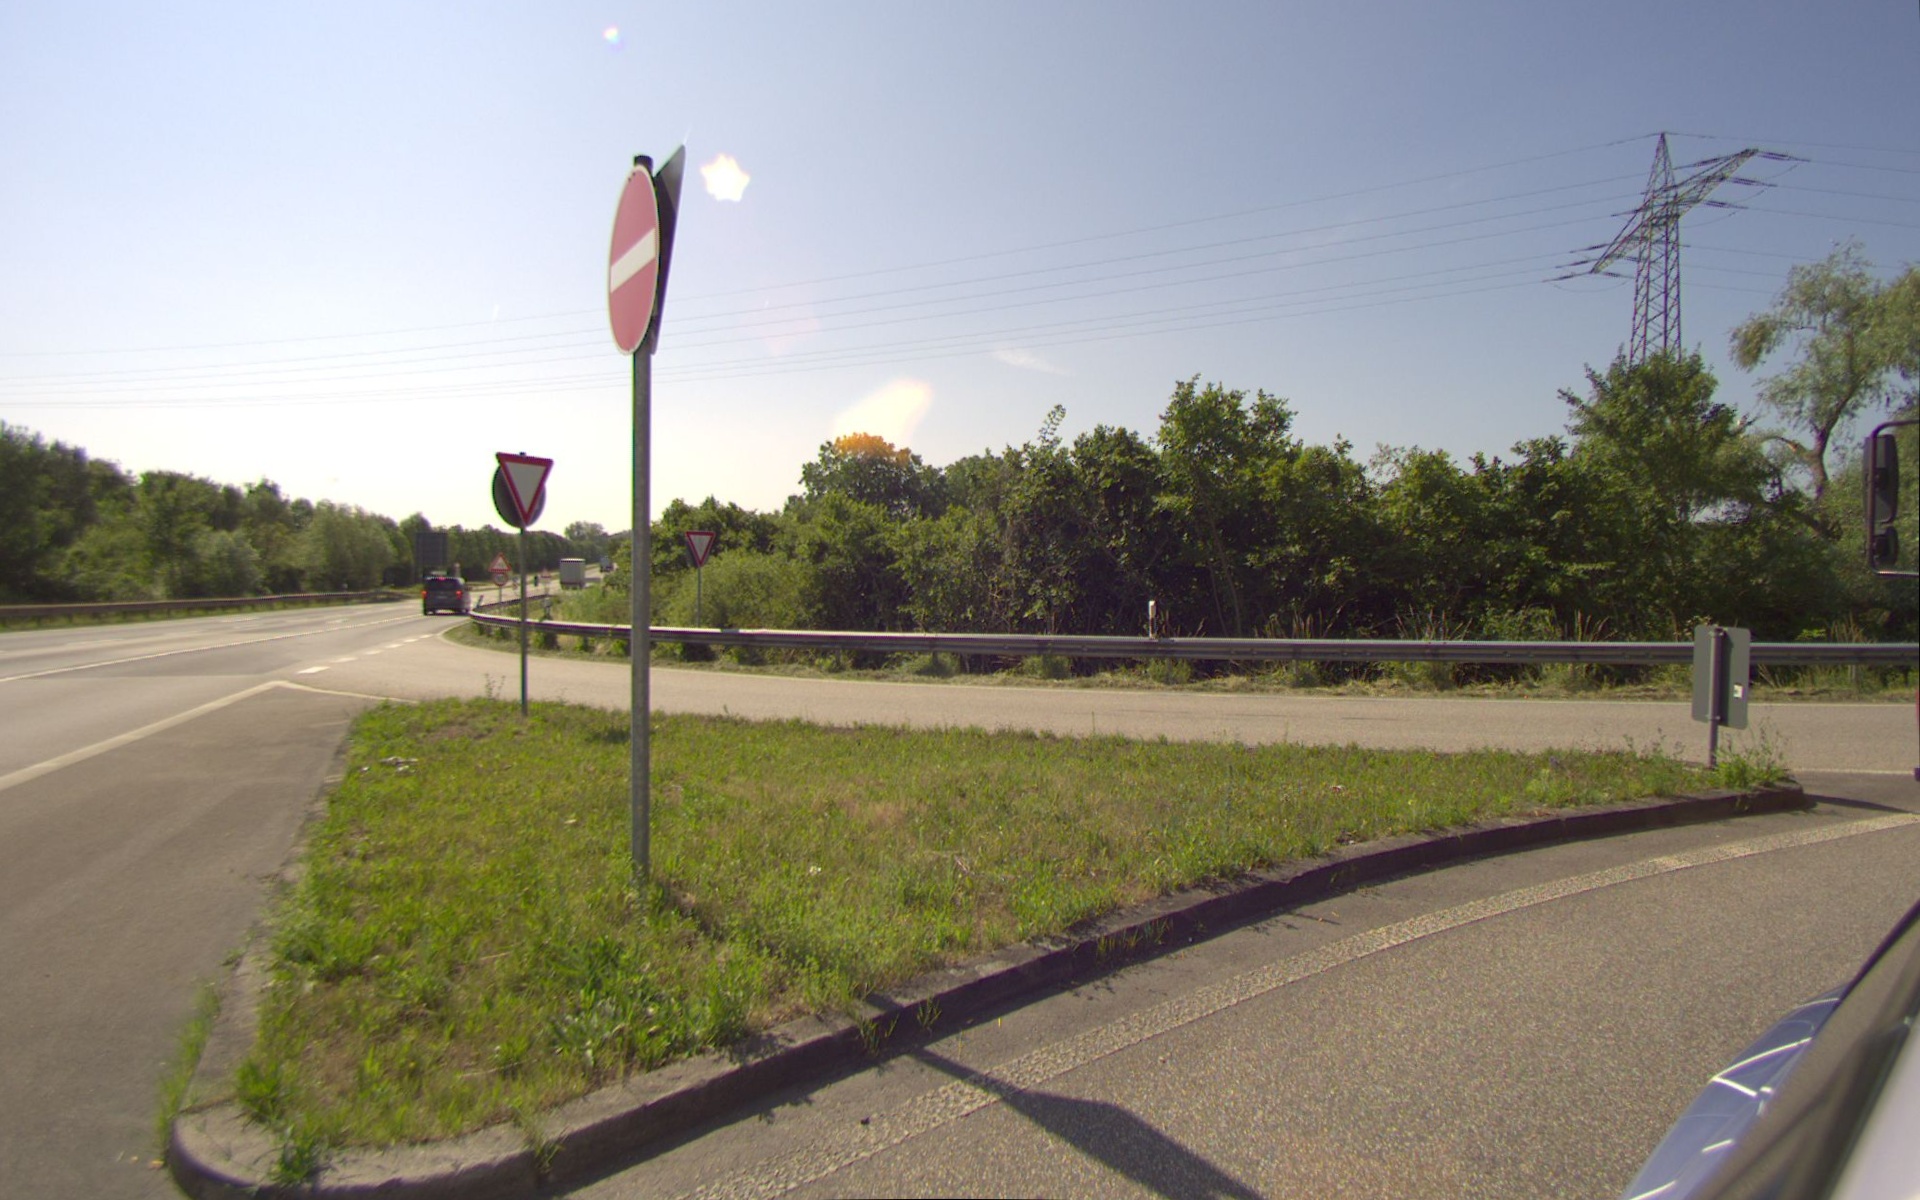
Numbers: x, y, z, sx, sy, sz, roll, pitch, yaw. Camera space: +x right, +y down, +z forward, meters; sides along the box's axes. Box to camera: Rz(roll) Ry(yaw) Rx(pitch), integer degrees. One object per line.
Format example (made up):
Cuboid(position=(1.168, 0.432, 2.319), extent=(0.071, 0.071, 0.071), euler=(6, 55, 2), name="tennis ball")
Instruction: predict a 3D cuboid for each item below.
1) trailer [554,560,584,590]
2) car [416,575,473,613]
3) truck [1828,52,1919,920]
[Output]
Cuboid(position=(-54.533, -3.494, 141.307), extent=(2.868, 4.060, 13.447), euler=(1, 1, -17), name="trailer")
Cuboid(position=(-26.663, -0.302, 52.517), extent=(1.958, 1.903, 5.004), euler=(0, 0, -19), name="car")
Cuboid(position=(8.645, -0.475, 5.280), extent=(9.070, 3.707, 2.696), euler=(0, 0, -25), name="truck")
